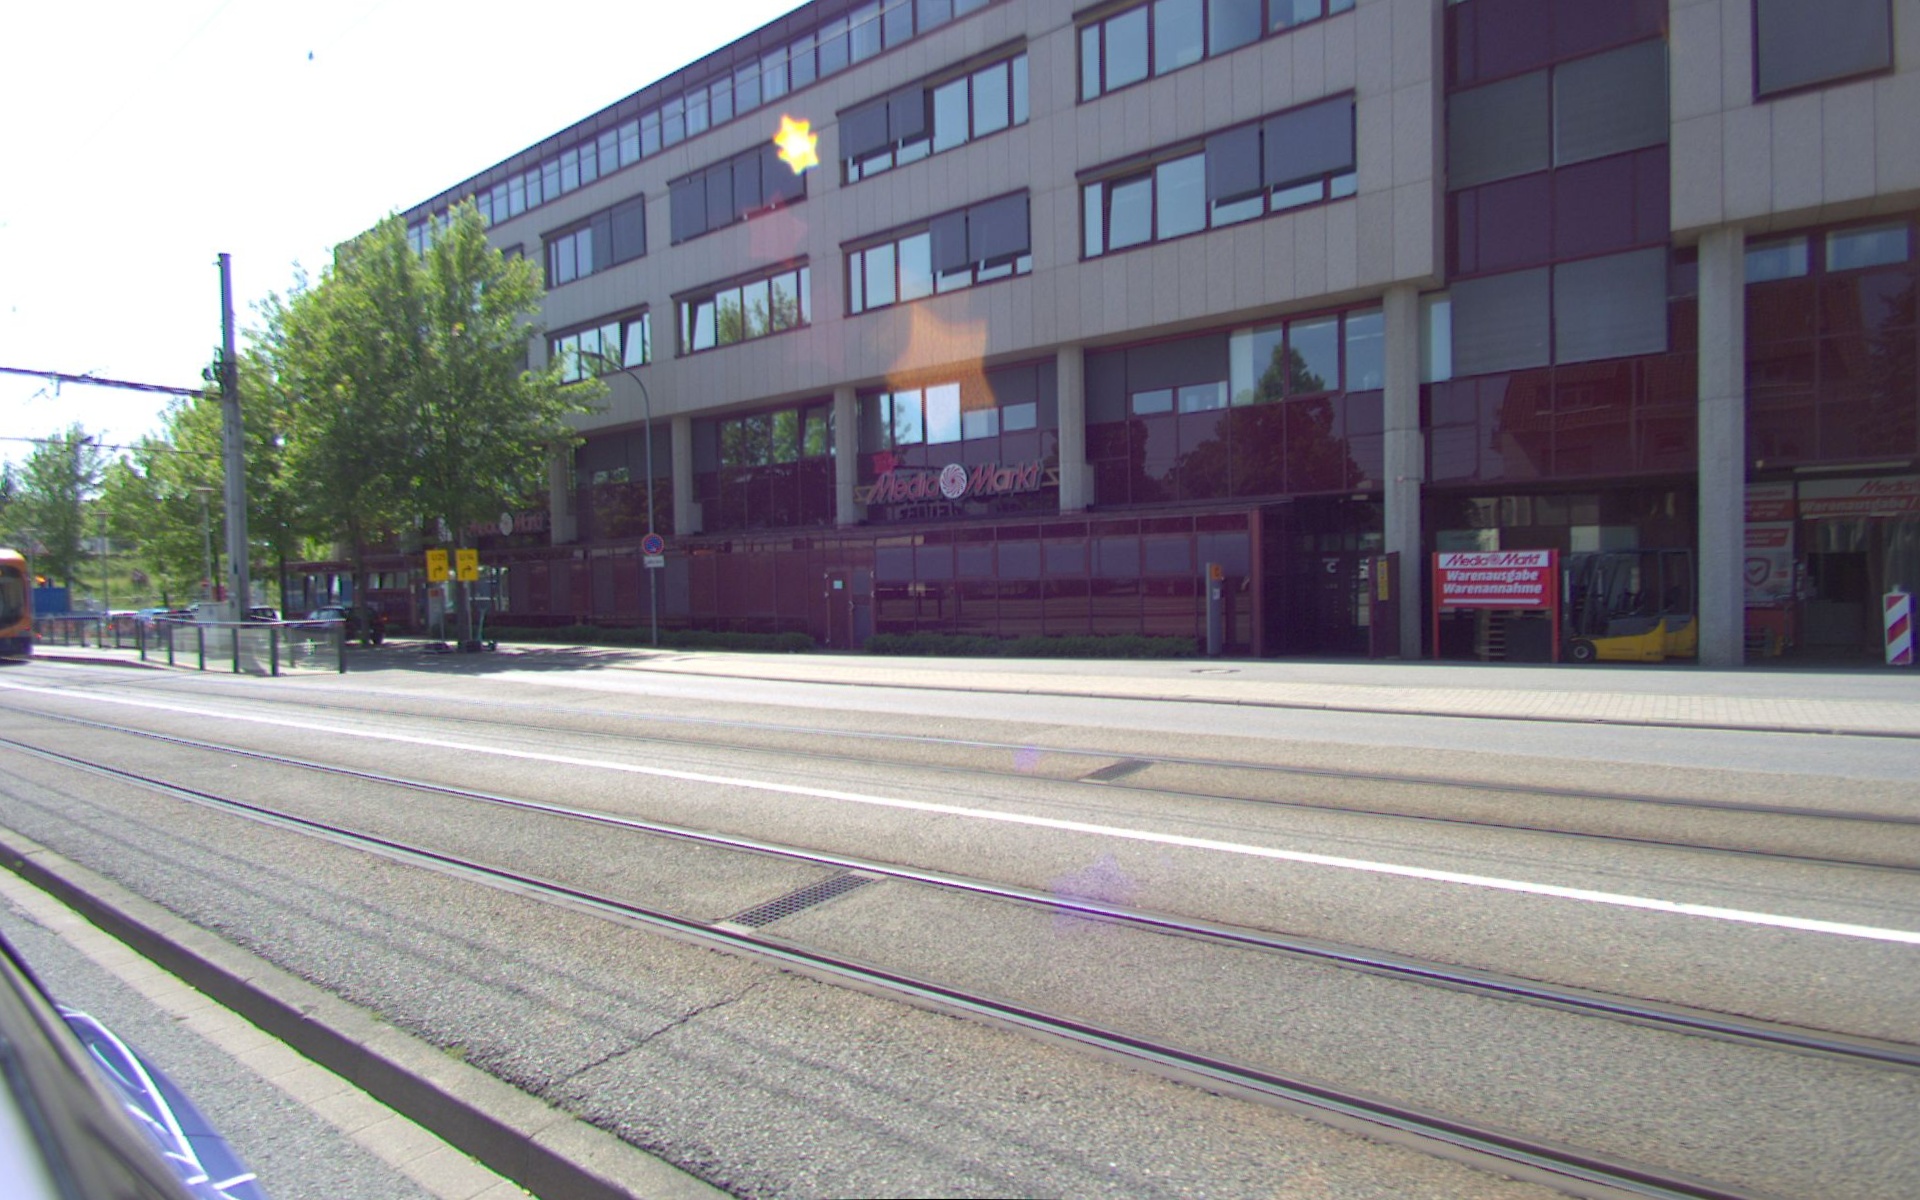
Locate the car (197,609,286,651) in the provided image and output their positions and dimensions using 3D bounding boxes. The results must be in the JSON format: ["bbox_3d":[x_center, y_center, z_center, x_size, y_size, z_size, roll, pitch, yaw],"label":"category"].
[{"bbox_3d":[-28.051,1.170,39.487,3.898,1.474,1.707,-2,2,37],"label":"car"}]

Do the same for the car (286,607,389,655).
[{"bbox_3d":[-22.052,1.065,35.790,3.993,1.530,1.744,-1,1,37],"label":"car"}]

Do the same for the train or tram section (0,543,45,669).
[{"bbox_3d":[-29.237,0.239,29.450,6.350,3.473,2.557,-1,0,36],"label":"train or tram section"}]

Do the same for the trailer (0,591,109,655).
[{"bbox_3d":[-41.874,1.067,46.166,7.582,2.648,2.773,-2,1,35],"label":"trailer"}]

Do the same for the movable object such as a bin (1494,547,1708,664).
[{"bbox_3d":[11.952,0.103,19.120,3.063,2.029,1.985,-1,0,23],"label":"movable object such as a bin"}]

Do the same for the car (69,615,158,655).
[{"bbox_3d":[-33.710,1.364,40.261,4.270,1.483,1.708,-1,-1,35],"label":"car"}]

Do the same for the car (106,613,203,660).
[{"bbox_3d":[-29.167,1.299,36.627,4.062,1.596,1.708,-1,-2,35],"label":"car"}]
